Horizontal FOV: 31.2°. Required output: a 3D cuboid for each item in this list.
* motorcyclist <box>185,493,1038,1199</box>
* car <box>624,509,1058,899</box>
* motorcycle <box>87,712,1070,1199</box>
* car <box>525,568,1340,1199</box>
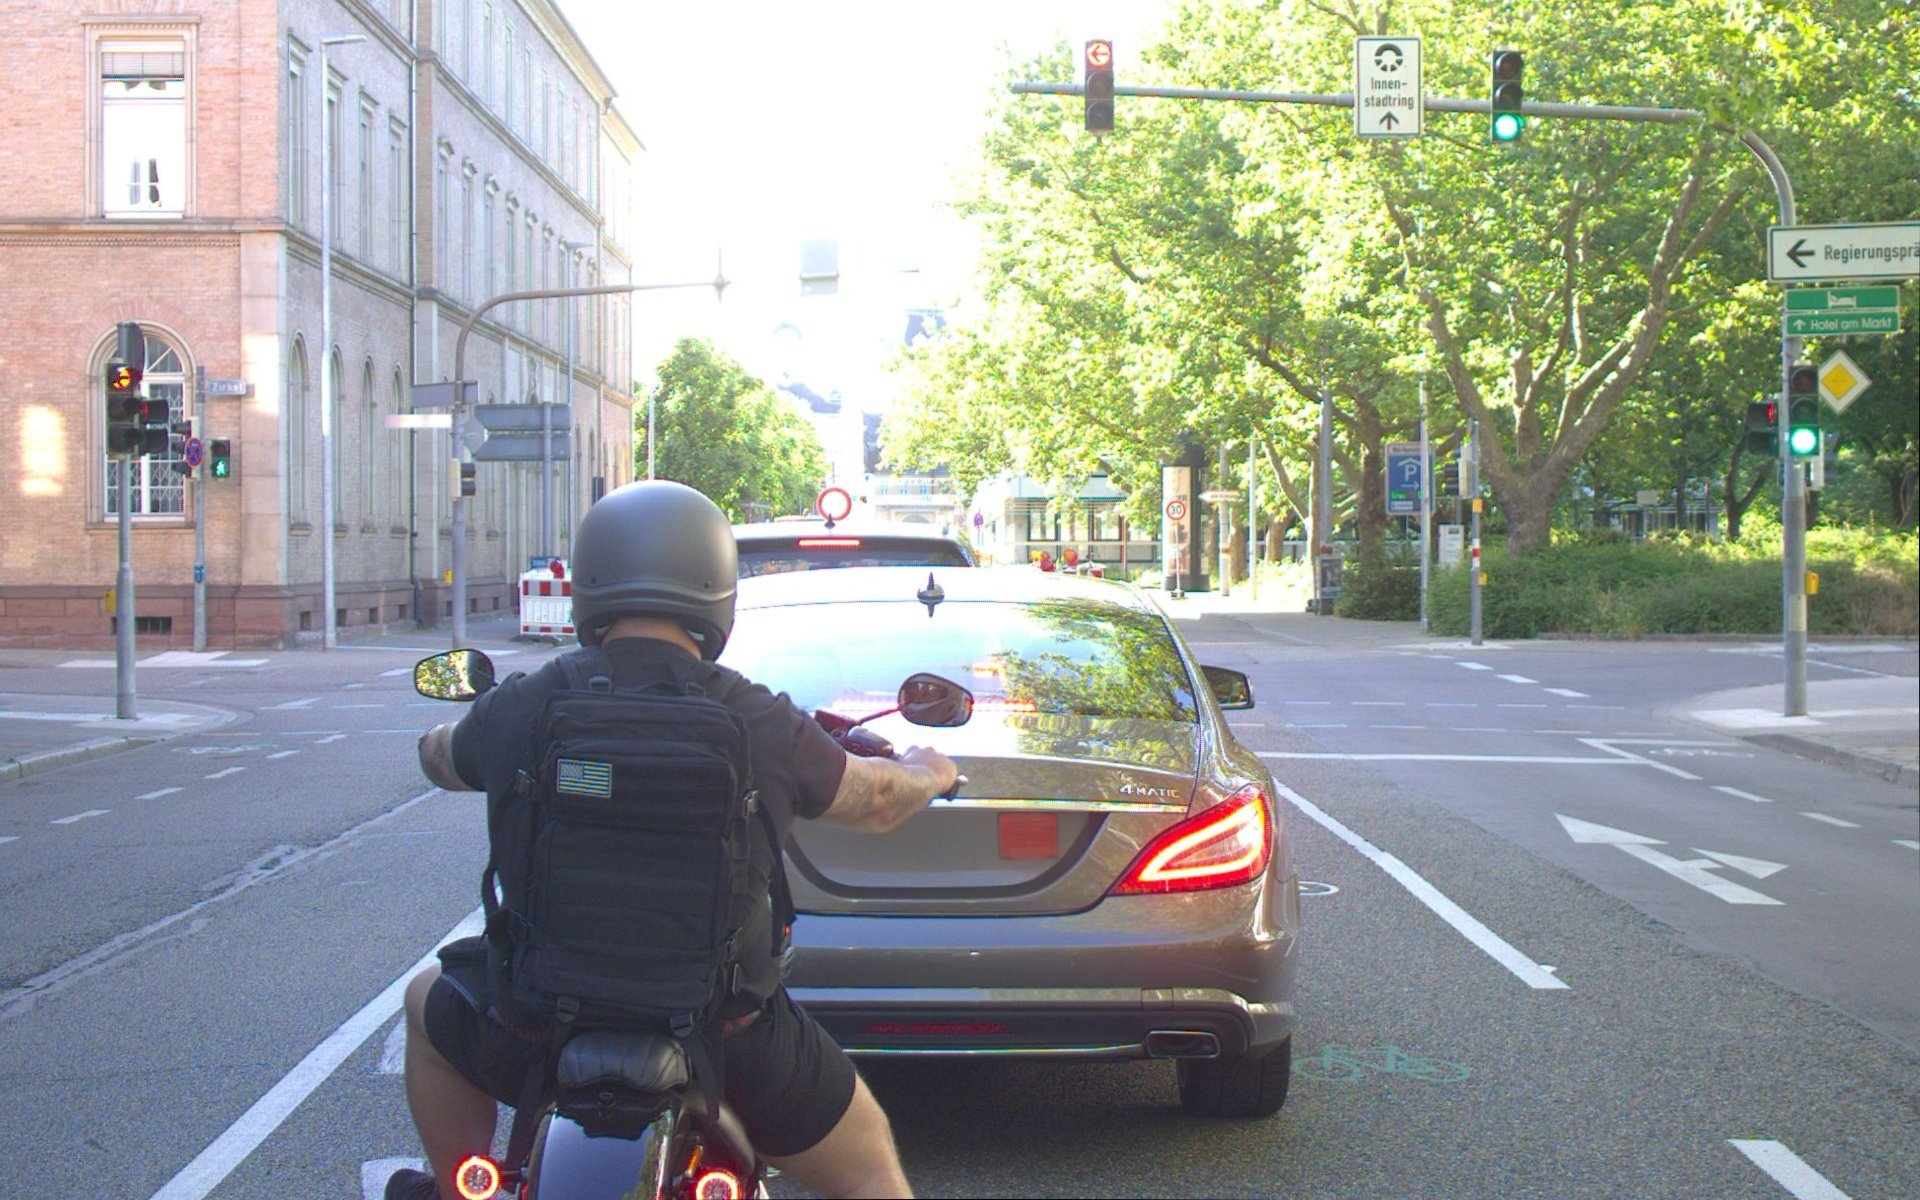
[{"bbox_3d":[-0.481,0.634,5.283,1.099,1.560,1.071,1,0,6],"label":"motorcyclist"},{"bbox_3d":[-0.541,0.431,16.949,1.863,1.672,4.000,1,1,-1],"label":"car"},{"bbox_3d":[-0.466,0.837,5.507,1.118,1.203,2.212,1,1,6],"label":"motorcycle"},{"bbox_3d":[-0.083,0.639,9.671,1.822,1.432,3.806,1,1,-1],"label":"car"}]
